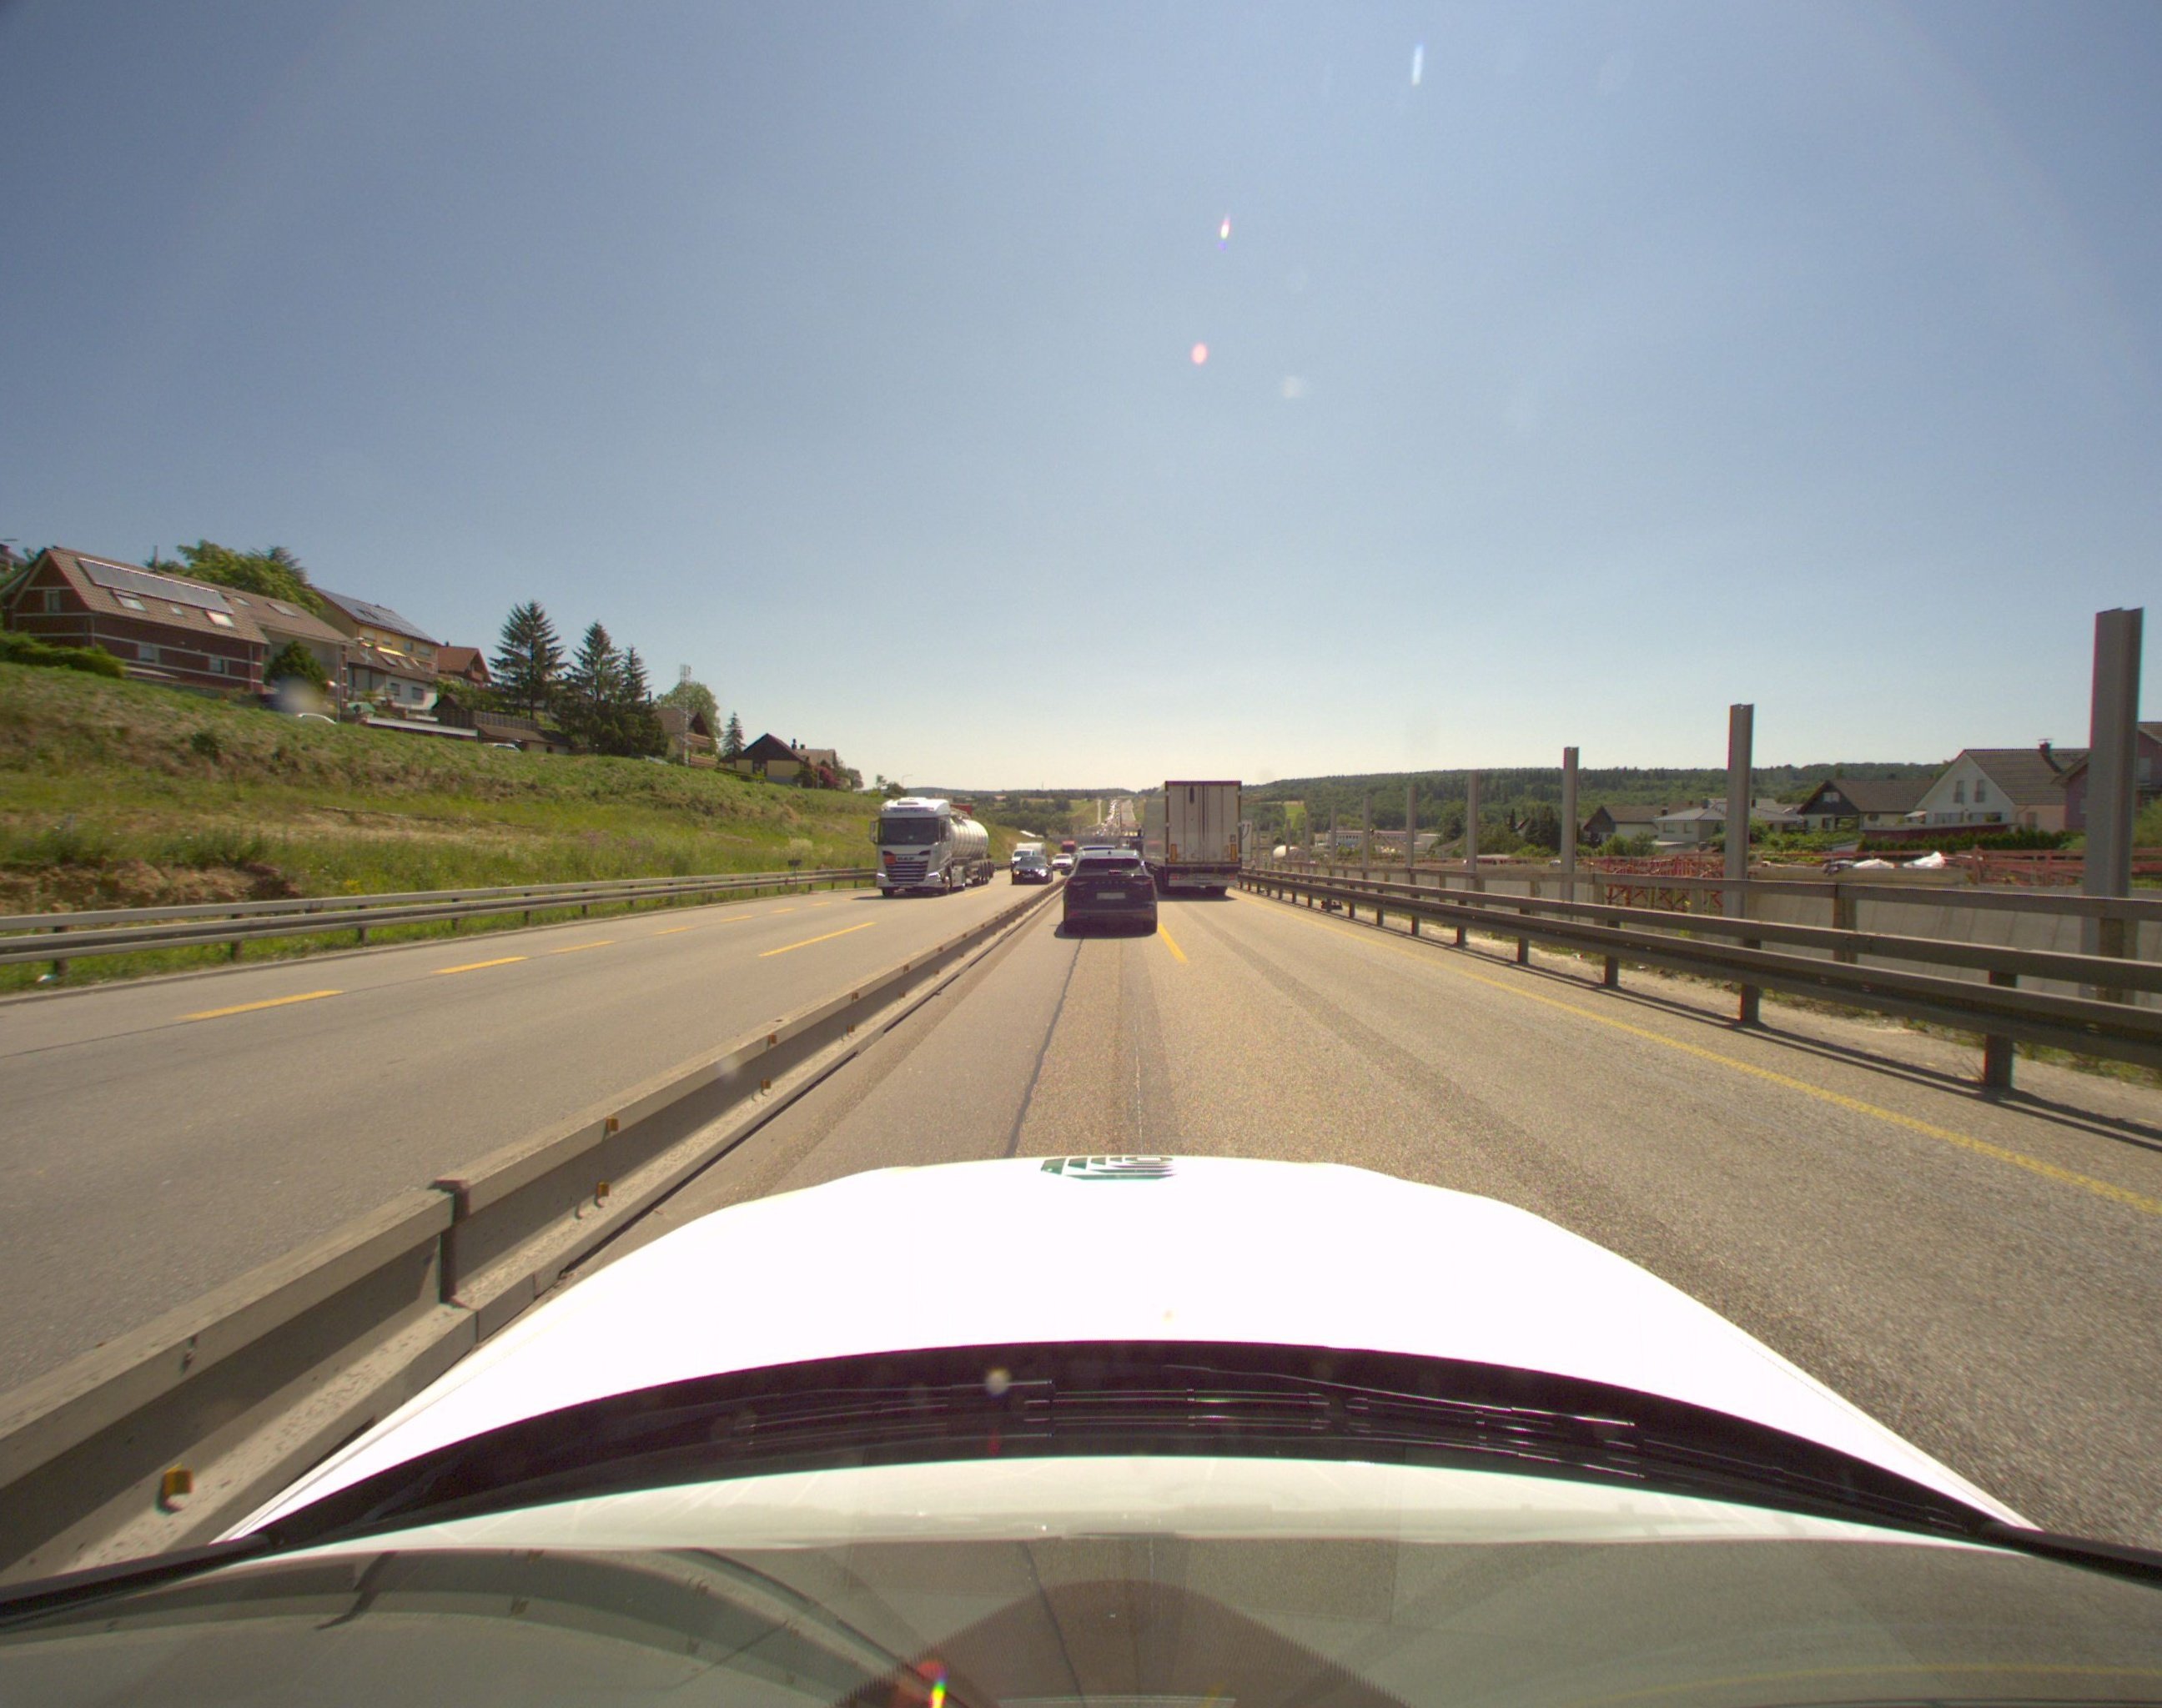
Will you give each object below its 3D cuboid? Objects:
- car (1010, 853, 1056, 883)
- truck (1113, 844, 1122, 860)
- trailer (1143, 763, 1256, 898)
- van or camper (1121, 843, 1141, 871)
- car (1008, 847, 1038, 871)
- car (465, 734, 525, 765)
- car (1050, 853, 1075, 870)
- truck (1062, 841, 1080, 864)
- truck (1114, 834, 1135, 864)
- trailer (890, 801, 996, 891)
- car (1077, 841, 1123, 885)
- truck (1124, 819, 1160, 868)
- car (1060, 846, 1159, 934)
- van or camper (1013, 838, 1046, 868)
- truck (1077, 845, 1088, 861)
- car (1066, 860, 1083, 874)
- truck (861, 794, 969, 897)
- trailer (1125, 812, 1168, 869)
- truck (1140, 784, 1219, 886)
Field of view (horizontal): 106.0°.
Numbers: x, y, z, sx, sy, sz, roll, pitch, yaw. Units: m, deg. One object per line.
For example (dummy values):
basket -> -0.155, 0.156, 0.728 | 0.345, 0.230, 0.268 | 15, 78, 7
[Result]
car -> -2.415, 0.702, 42.114 | 1.887, 1.414, 4.682 | -1, 0, 2
truck -> 10.437, -0.571, 232.186 | 2.629, 4.194, 9.287 | 0, -1, 2
trailer -> 4.470, -0.821, 33.841 | 3.168, 4.513, 13.114 | 0, 0, 2
van or camper -> 6.261, 0.448, 101.431 | 2.378, 3.281, 6.475 | -1, -1, 4
car -> -4.950, 0.428, 69.995 | 1.986, 1.971, 5.345 | -1, 0, 2
car -> -50.509, -8.982, 70.261 | 1.983, 2.014, 4.008 | 0, -1, 7
car -> -1.603, 0.624, 70.788 | 1.905, 1.480, 4.638 | -1, 0, 2
truck -> -1.841, -0.175, 154.971 | 2.842, 4.140, 11.919 | 0, -1, 1
truck -> 6.769, -0.654, 128.014 | 2.842, 4.465, 11.919 | 0, -1, 1
trailer -> -6.144, -0.320, 38.495 | 2.707, 3.594, 11.798 | 0, 0, 1
car -> 0.895, 0.427, 37.665 | 1.986, 1.926, 4.509 | 0, -1, 2
truck -> 5.888, -0.886, 79.498 | 3.168, 4.513, 8.168 | 0, -1, 2
car -> 0.603, 0.679, 16.867 | 1.795, 1.607, 4.002 | 0, -1, 2
van or camper -> -4.748, -0.080, 76.599 | 2.348, 2.676, 7.861 | -1, 0, 2
truck -> 0.572, -0.182, 230.071 | 2.842, 4.338, 11.919 | 0, -1, 1
car -> -0.638, 1.320, 82.765 | 1.660, 1.413, 3.818 | 0, 0, 1
truck -> -6.334, -0.305, 32.090 | 2.769, 3.672, 6.279 | 0, 0, 1
trailer -> 5.623, -0.941, 72.497 | 3.168, 4.513, 14.971 | 0, -1, 2
truck -> 4.673, -0.864, 40.316 | 3.168, 4.513, 8.169 | 0, 0, 2
